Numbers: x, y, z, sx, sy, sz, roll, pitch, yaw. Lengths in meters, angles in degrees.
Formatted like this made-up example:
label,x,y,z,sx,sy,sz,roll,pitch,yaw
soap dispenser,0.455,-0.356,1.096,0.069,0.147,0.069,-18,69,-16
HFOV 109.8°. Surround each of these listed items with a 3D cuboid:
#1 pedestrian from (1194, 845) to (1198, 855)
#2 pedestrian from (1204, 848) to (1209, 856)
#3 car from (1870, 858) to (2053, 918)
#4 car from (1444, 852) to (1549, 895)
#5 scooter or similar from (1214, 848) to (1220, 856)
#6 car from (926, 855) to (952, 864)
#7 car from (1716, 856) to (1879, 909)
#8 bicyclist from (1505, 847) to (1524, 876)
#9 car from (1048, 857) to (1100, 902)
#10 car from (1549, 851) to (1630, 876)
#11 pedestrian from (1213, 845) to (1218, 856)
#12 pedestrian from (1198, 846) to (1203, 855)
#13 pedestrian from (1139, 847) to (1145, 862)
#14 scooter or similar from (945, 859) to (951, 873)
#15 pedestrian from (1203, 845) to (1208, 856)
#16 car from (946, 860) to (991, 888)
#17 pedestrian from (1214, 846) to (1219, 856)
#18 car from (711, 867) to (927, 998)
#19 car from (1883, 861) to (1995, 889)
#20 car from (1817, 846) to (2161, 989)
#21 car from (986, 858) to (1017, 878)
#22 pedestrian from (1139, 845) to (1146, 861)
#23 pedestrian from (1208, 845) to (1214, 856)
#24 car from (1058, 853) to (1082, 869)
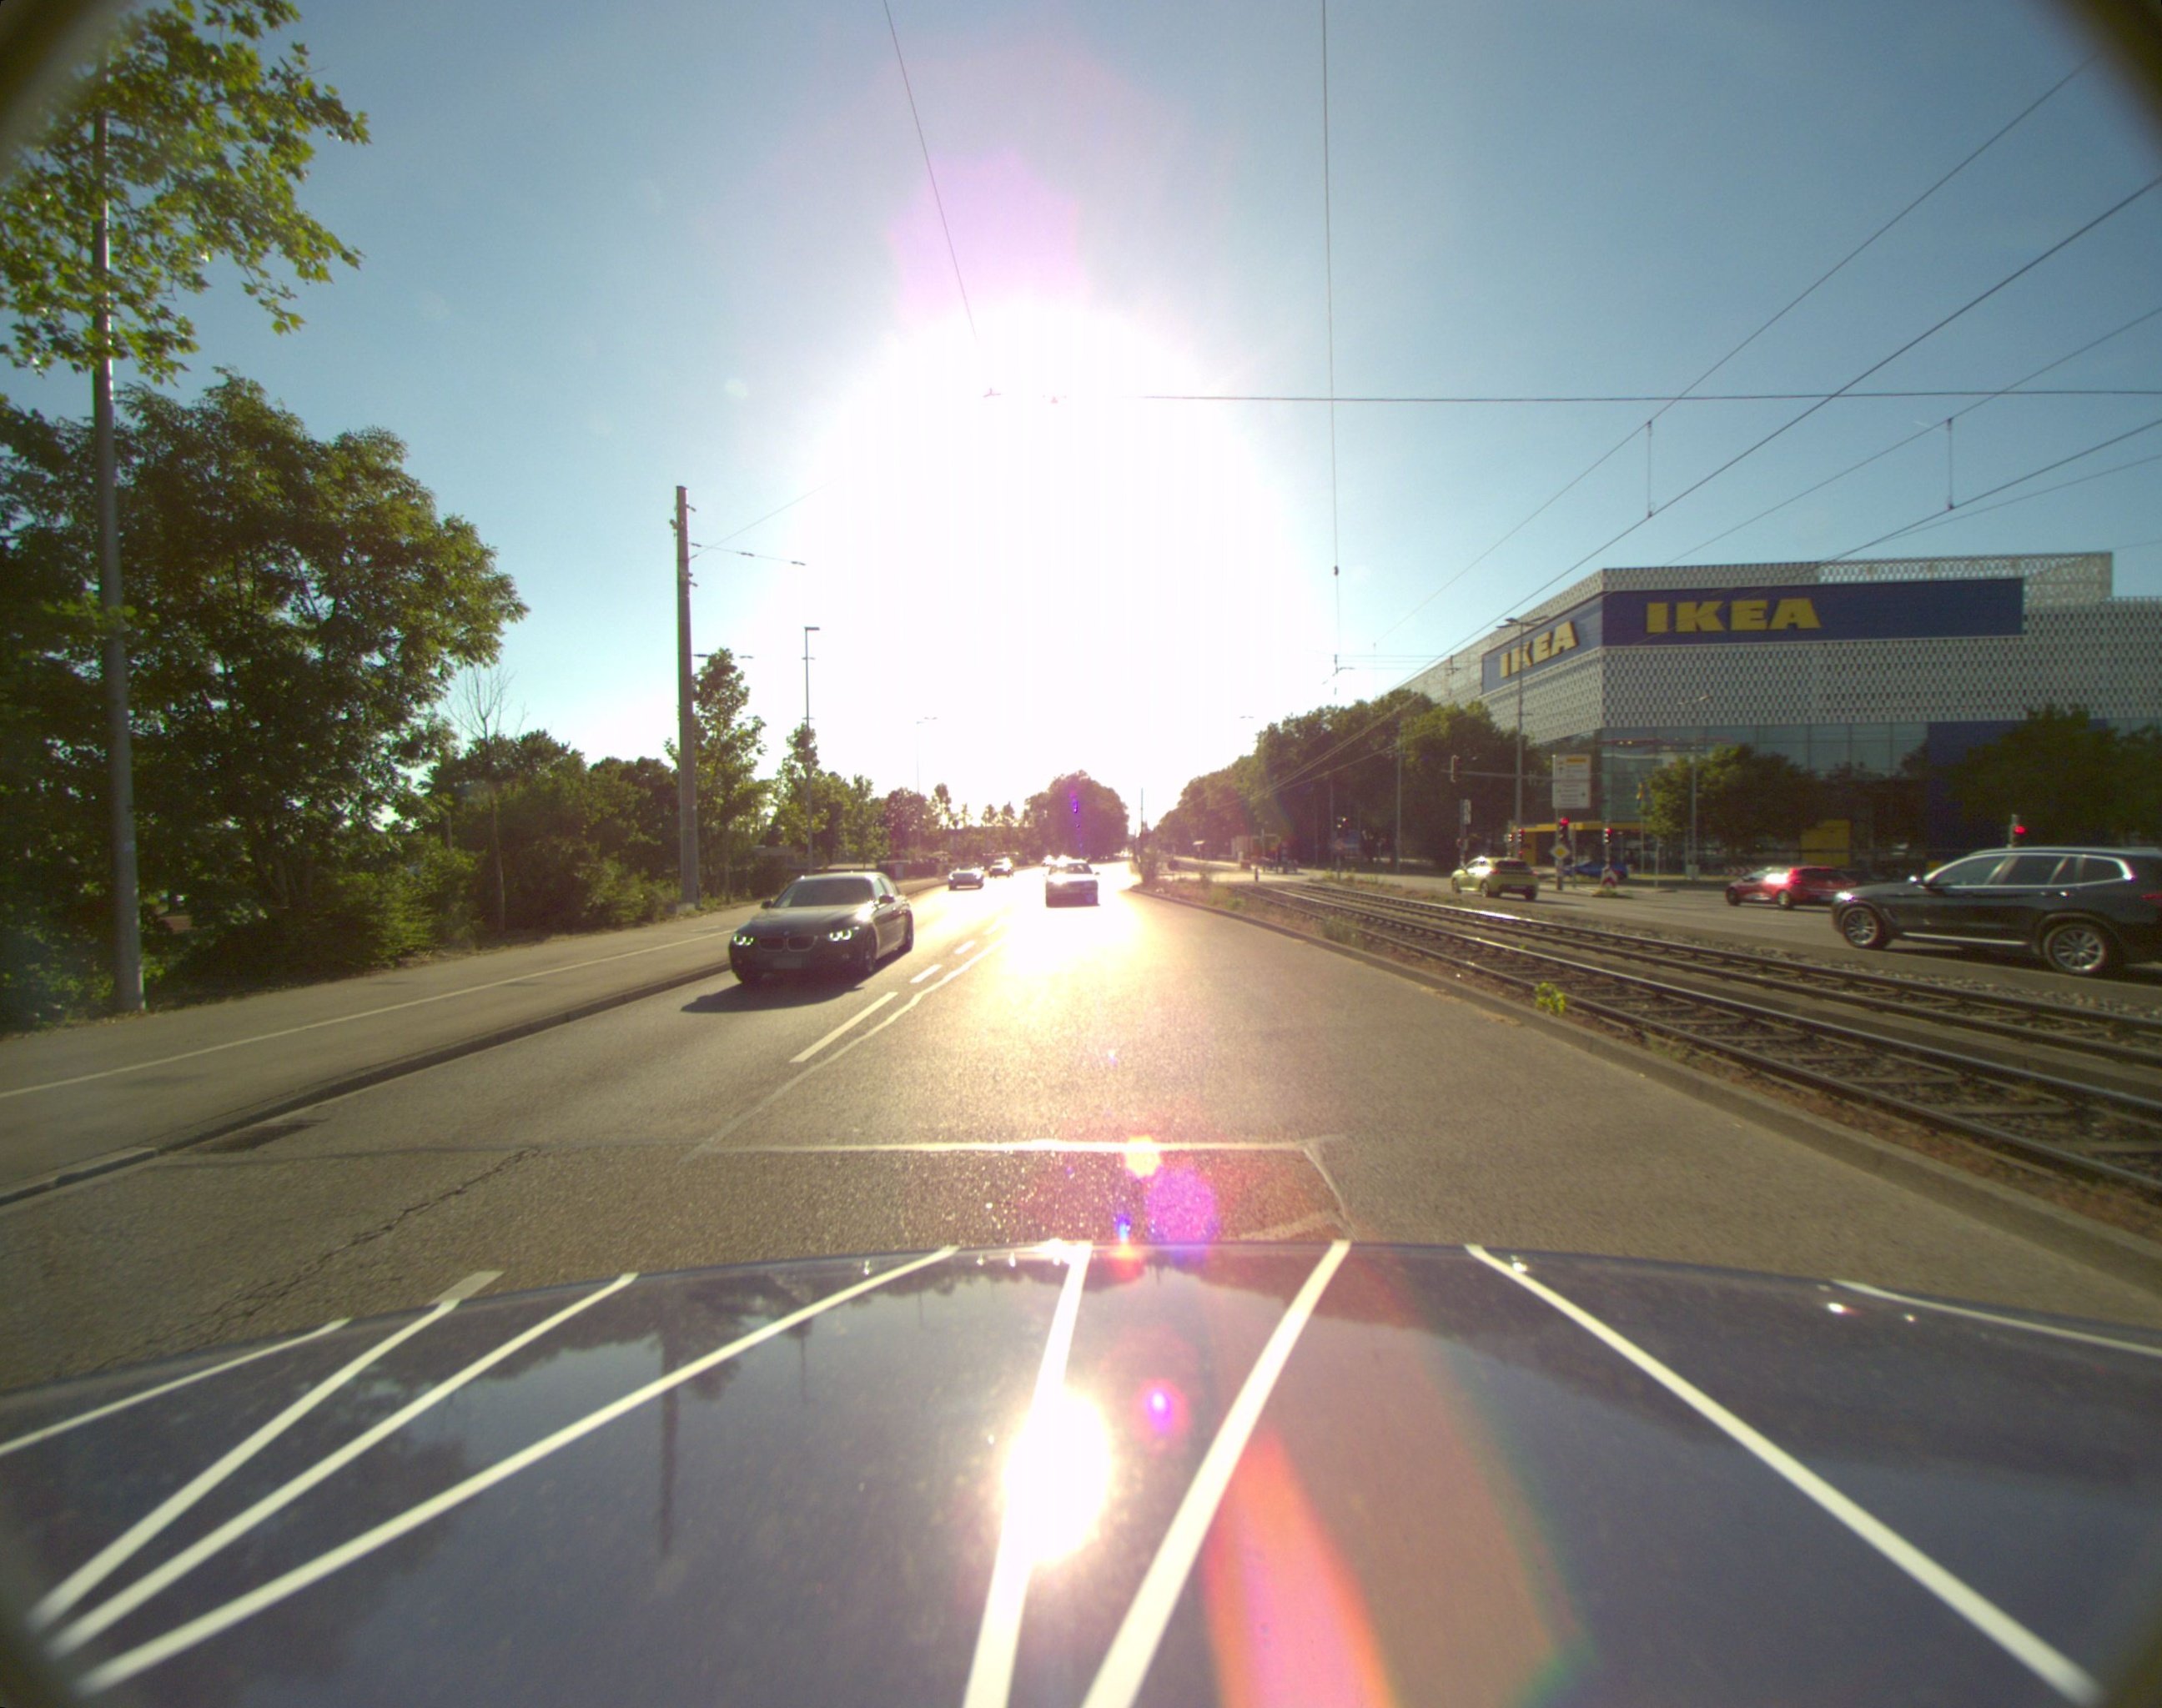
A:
label,x,y,z,sx,sy,sz,roll,pitch,yaw
pedestrian,20.462,-0.671,134.962,0.763,1.700,0.678,0,1,5
pedestrian,20.728,-0.322,125.662,0.654,1.245,0.685,-3,1,1
car,26.829,0.965,23.374,1.822,1.633,4.005,1,0,18
car,15.079,0.648,27.819,1.787,1.439,4.109,1,0,4
scooter or similar,20.453,-0.278,114.508,0.665,1.227,1.372,-1,1,3
car,-27.715,1.119,148.227,4.660,1.560,1.859,-3,0,1
car,22.915,0.845,24.564,1.938,1.468,4.135,2,1,13
bicyclist,23.099,0.375,40.510,0.589,1.514,0.751,-1,1,4
car,-0.194,0.878,27.788,1.602,1.440,3.800,-2,0,4
car,35.856,0.648,53.717,4.251,1.489,2.017,2,2,8
pedestrian,20.988,-0.512,118.840,0.652,1.611,0.635,-2,1,7
pedestrian,20.257,-0.583,128.670,0.661,1.623,0.777,-2,1,5
pedestrian,6.579,0.048,82.165,0.535,1.647,0.751,-3,1,6
scooter or similar,-11.985,1.063,68.329,0.525,1.224,1.265,-1,1,-10
pedestrian,20.335,-0.529,124.060,0.654,1.732,0.686,-3,1,7
car,-6.188,1.088,42.308,1.856,1.415,3.980,-2,0,0
pedestrian,20.898,-0.440,117.383,0.603,1.611,0.691,-2,1,7
car,-3.755,1.020,11.861,1.871,1.459,4.584,-2,1,-2
car,49.627,1.217,44.030,4.086,1.449,1.922,1,1,4
car,13.593,0.724,10.757,1.998,1.646,4.659,1,1,4
car,-6.621,1.170,63.770,1.740,1.502,4.002,-2,0,6
pedestrian,6.774,-0.081,83.918,0.708,1.765,0.535,-3,1,8
pedestrian,20.901,-0.526,121.897,0.734,1.682,0.687,-3,1,-6
car,-1.077,0.631,73.931,1.870,1.422,3.832,-3,0,5
